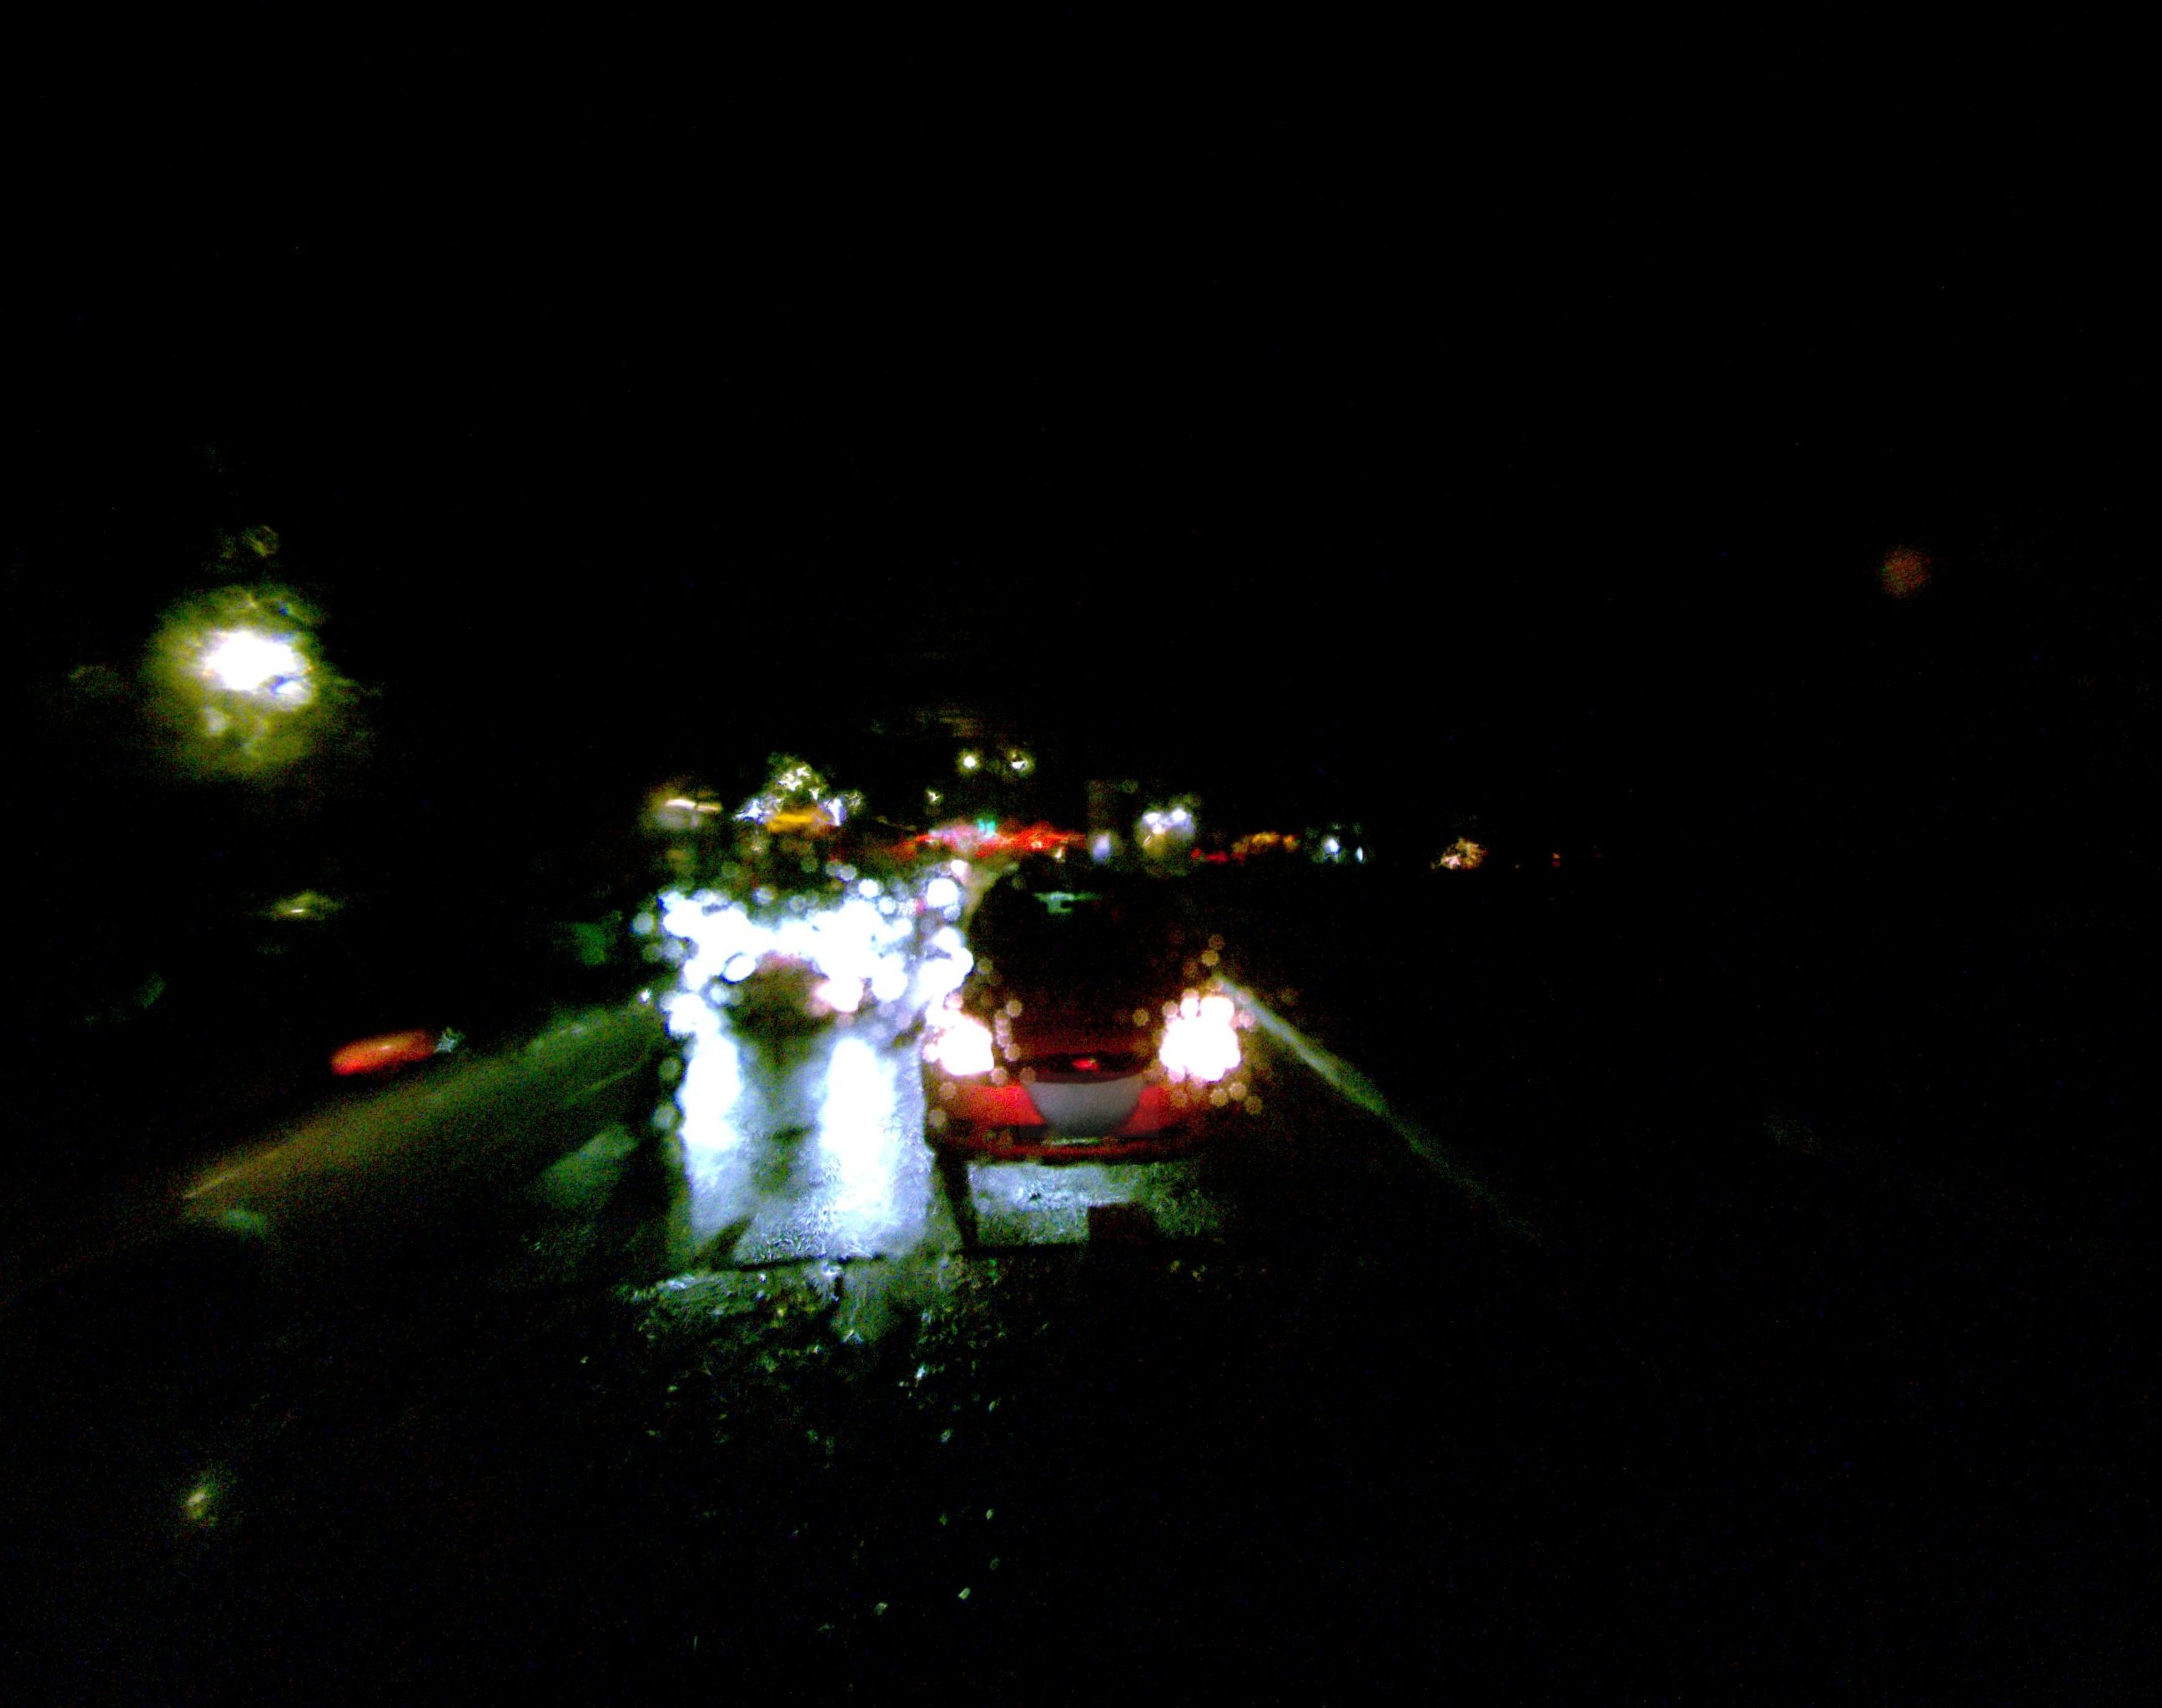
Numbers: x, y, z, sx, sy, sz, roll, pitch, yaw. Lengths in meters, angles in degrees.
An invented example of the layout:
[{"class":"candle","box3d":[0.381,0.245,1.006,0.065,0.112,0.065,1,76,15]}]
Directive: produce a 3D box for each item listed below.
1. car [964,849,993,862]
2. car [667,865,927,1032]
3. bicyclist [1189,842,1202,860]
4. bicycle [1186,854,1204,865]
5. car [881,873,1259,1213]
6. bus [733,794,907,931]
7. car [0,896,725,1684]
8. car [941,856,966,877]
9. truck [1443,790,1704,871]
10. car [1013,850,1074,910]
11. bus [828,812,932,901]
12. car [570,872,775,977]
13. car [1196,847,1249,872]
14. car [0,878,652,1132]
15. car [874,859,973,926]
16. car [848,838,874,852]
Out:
[{"class":"car","box3d":[-12.473,0.195,92.234,1.833,1.456,4.414,-2,1,-32]},{"class":"car","box3d":[-3.319,0.996,9.858,1.724,1.478,4.161,-4,1,0]},{"class":"bicyclist","box3d":[9.216,-0.259,61.443,0.630,1.427,1.187,-1,1,-14]},{"class":"bicycle","box3d":[9.224,0.430,61.438,0.629,0.899,2.210,-1,1,-14]},{"class":"car","box3d":[-0.067,0.935,5.524,1.755,1.438,3.973,0,1,0]},{"class":"bus","box3d":[-7.436,0.148,23.293,2.742,3.258,9.693,-2,1,-5]},{"class":"car","box3d":[-3.158,1.030,2.791,1.724,1.438,4.161,-1,1,0]},{"class":"car","box3d":[-9.571,0.926,56.855,1.726,1.478,4.157,0,1,-11]},{"class":"truck","box3d":[29.992,-1.391,46.865,13.671,4.416,2.743,-1,1,7]},{"class":"car","box3d":[-1.099,0.724,23.534,1.724,1.695,3.972,0,1,-1]},{"class":"bus","box3d":[-8.385,0.028,32.940,2.742,3.219,9.693,-2,1,-6]},{"class":"car","box3d":[-7.142,1.133,13.831,1.725,1.478,4.160,0,1,-4]},{"class":"car","box3d":[8.861,0.302,47.865,2.041,1.478,4.495,0,1,-7]},{"class":"car","box3d":[-6.439,1.089,7.481,1.724,1.478,4.786,-1,1,0]},{"class":"car","box3d":[-3.859,0.879,19.210,1.698,1.455,3.973,0,1,0]},{"class":"car","box3d":[-23.736,-0.956,81.934,1.712,1.382,3.990,-2,1,-32]}]
